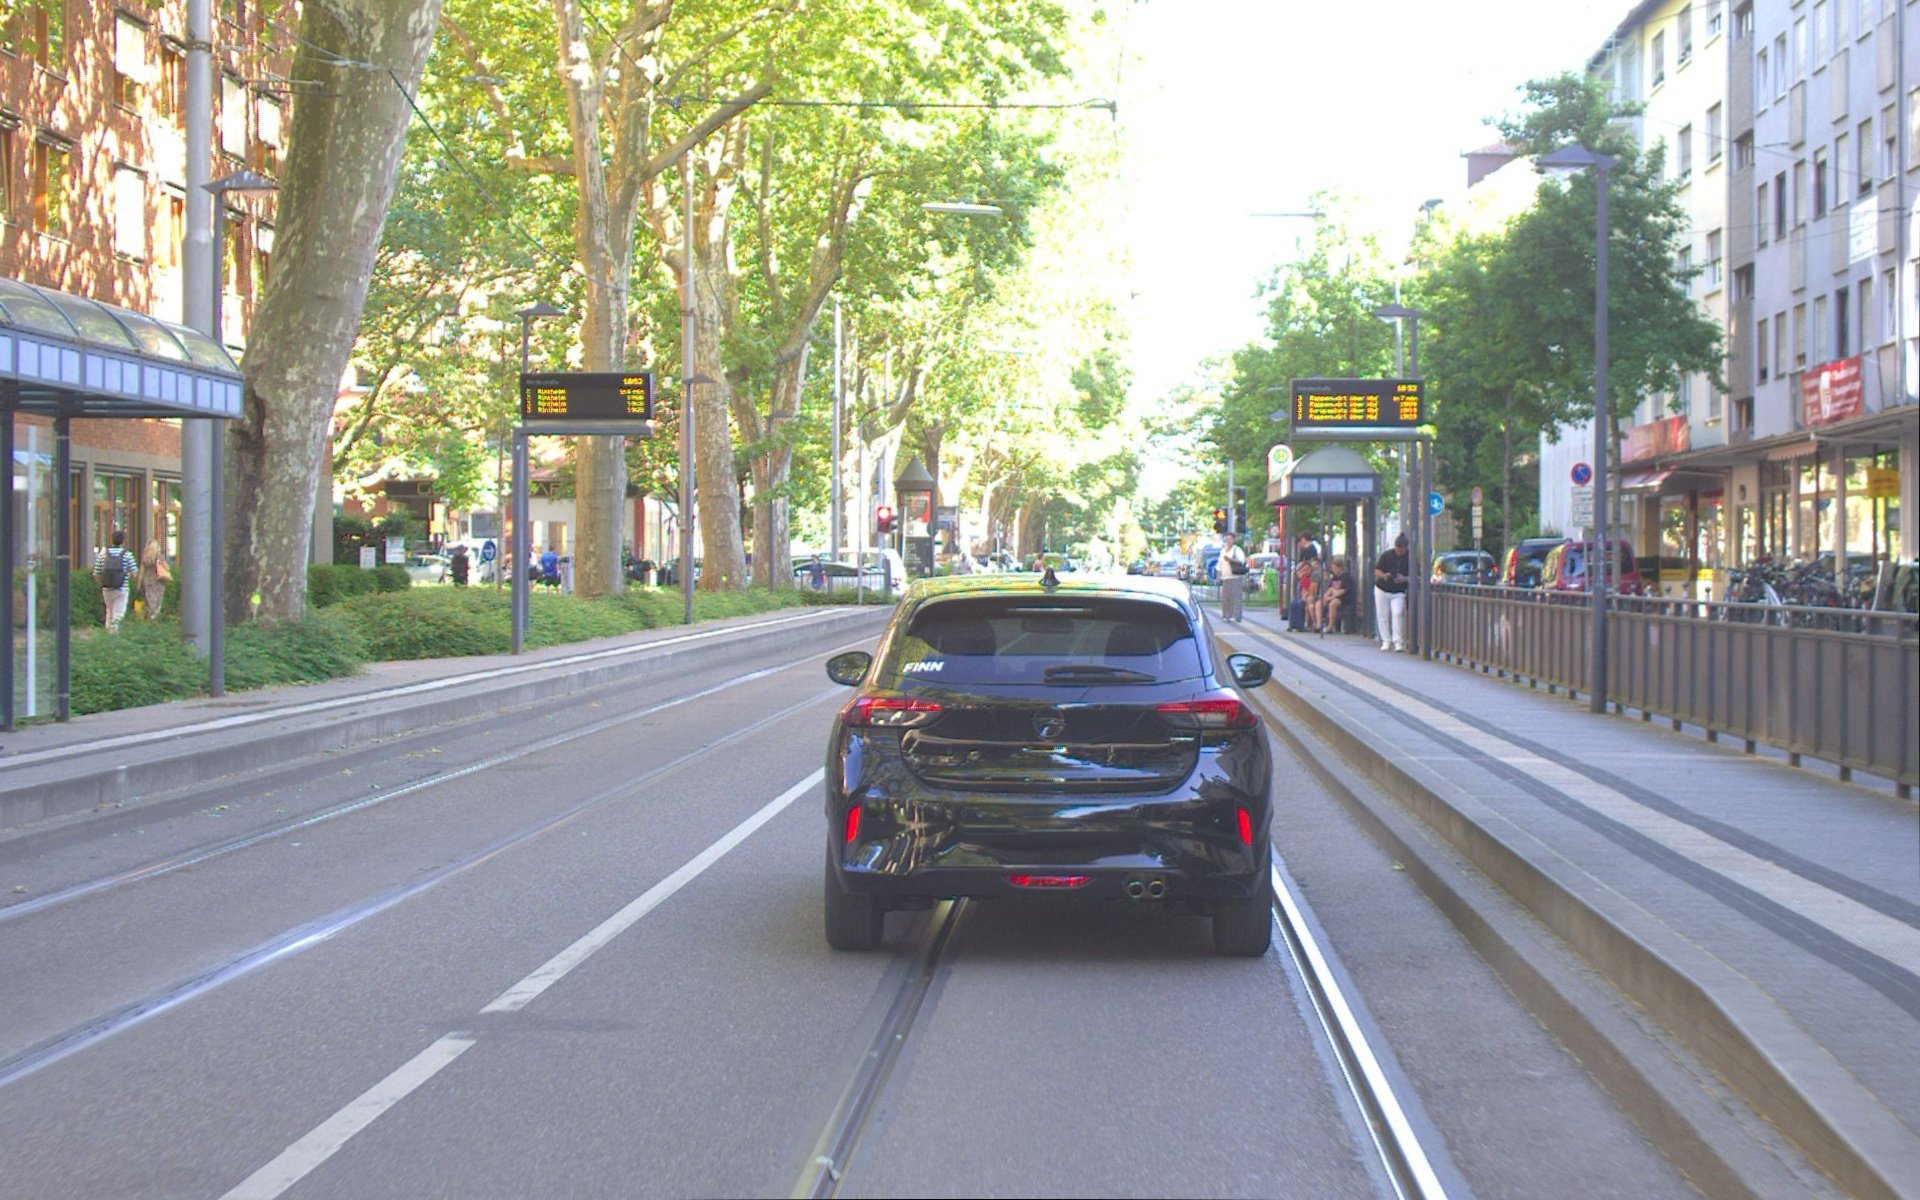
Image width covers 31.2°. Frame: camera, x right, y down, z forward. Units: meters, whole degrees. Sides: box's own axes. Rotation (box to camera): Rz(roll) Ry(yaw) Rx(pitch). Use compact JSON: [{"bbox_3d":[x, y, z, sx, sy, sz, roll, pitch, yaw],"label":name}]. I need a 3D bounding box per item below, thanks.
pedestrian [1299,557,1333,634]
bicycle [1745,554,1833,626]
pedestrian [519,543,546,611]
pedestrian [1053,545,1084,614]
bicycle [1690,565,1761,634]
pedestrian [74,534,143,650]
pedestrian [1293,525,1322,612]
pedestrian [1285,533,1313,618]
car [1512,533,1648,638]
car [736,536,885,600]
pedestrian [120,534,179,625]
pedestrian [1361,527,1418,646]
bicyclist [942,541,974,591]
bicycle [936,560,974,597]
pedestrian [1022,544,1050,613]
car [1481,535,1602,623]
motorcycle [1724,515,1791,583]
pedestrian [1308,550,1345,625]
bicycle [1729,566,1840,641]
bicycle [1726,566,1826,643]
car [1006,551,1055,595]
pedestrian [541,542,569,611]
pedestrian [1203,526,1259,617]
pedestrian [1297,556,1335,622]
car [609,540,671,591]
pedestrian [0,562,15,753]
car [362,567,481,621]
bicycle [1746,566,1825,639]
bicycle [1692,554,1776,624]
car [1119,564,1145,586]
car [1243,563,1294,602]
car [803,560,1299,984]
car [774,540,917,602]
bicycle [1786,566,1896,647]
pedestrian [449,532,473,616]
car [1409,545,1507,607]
[{"bbox_3d":[6.057,-0.083,58.482,0.502,1.300,0.429,1,0,-1],"label":"pedestrian"},{"bbox_3d":[13.542,-0.167,56.217,0.597,1.132,2.204,1,0,-8],"label":"bicycle"},{"bbox_3d":[-12.360,-0.662,99.412,0.672,1.943,0.498,2,1,0],"label":"pedestrian"},{"bbox_3d":[3.180,-0.606,100.670,0.676,2.007,0.701,2,1,14],"label":"pedestrian"},{"bbox_3d":[13.056,-0.016,58.693,0.597,1.132,2.204,1,0,-3],"label":"bicycle"},{"bbox_3d":[-12.417,-0.123,50.166,0.735,1.666,0.861,1,0,3],"label":"pedestrian"},{"bbox_3d":[7.115,-0.645,70.416,0.531,1.757,0.661,1,0,5],"label":"pedestrian"},{"bbox_3d":[6.846,-0.496,69.402,0.531,1.703,0.752,1,0,5],"label":"pedestrian"},{"bbox_3d":[11.962,-0.280,66.576,1.993,1.946,4.000,1,0,2],"label":"car"},{"bbox_3d":[-4.223,-0.896,96.934,4.113,1.695,1.884,1,0,-4],"label":"car"},{"bbox_3d":[-14.452,-0.361,61.314,0.775,1.599,0.946,1,0,3],"label":"pedestrian"},{"bbox_3d":[5.793,-0.187,46.365,0.631,1.571,0.870,3,1,3],"label":"pedestrian"},{"bbox_3d":[-0.074,-1.175,117.949,0.941,1.697,1.152,1,0,6],"label":"bicyclist"},{"bbox_3d":[-0.165,-0.730,117.051,0.955,1.236,2.977,1,0,6],"label":"bicycle"},{"bbox_3d":[2.232,-0.640,101.040,0.675,2.007,0.701,2,1,9],"label":"pedestrian"},{"bbox_3d":[12.349,-0.448,73.233,1.993,1.791,4.000,1,0,2],"label":"car"},{"bbox_3d":[15.433,-0.985,66.595,0.892,1.276,2.043,1,0,3],"label":"motorcycle"},{"bbox_3d":[6.092,-0.205,57.152,0.534,1.226,0.510,1,0,-1],"label":"pedestrian"},{"bbox_3d":[12.824,0.039,53.579,0.611,1.132,2.922,1,0,-8],"label":"bicycle"},{"bbox_3d":[12.357,0.062,52.139,0.602,1.132,2.435,1,0,-8],"label":"bicycle"},{"bbox_3d":[2.560,-0.982,125.457,1.745,1.539,4.000,1,0,1],"label":"car"},{"bbox_3d":[-11.592,-0.665,98.477,0.672,1.943,0.498,2,1,0],"label":"pedestrian"},{"bbox_3d":[5.154,-0.536,65.415,0.751,1.703,0.761,1,0,37],"label":"pedestrian"},{"bbox_3d":[5.984,-0.183,57.799,0.534,1.096,0.551,1,0,-1],"label":"pedestrian"},{"bbox_3d":[-13.184,-1.409,141.901,1.994,2.007,4.000,1,0,3],"label":"car"},{"bbox_3d":[-6.194,0.355,20.896,0.705,1.164,0.659,-1,0,0],"label":"pedestrian"},{"bbox_3d":[-20.991,-0.228,134.091,4.250,2.007,2.000,1,0,3],"label":"car"},{"bbox_3d":[13.223,0.034,55.107,0.410,1.132,2.204,1,0,-8],"label":"bicycle"},{"bbox_3d":[12.879,-0.184,57.264,0.597,1.132,2.204,1,0,-8],"label":"bicycle"},{"bbox_3d":[12.544,-1.830,250.517,1.745,1.539,4.000,1,0,1],"label":"car"},{"bbox_3d":[13.440,-0.755,149.926,1.994,1.627,4.000,1,0,3],"label":"car"},{"bbox_3d":[0.338,0.605,14.075,1.760,1.503,3.683,0,0,1],"label":"car"},{"bbox_3d":[-3.635,-0.913,108.633,4.384,1.845,2.000,1,0,-4],"label":"car"},{"bbox_3d":[12.710,0.083,49.683,0.621,1.132,2.440,1,0,-8],"label":"bicycle"},{"bbox_3d":[-11.593,-0.605,79.870,0.496,1.943,0.674,1,0,-10],"label":"pedestrian"},{"bbox_3d":[12.345,-0.585,85.402,1.994,1.481,4.000,1,0,3],"label":"car"}]
